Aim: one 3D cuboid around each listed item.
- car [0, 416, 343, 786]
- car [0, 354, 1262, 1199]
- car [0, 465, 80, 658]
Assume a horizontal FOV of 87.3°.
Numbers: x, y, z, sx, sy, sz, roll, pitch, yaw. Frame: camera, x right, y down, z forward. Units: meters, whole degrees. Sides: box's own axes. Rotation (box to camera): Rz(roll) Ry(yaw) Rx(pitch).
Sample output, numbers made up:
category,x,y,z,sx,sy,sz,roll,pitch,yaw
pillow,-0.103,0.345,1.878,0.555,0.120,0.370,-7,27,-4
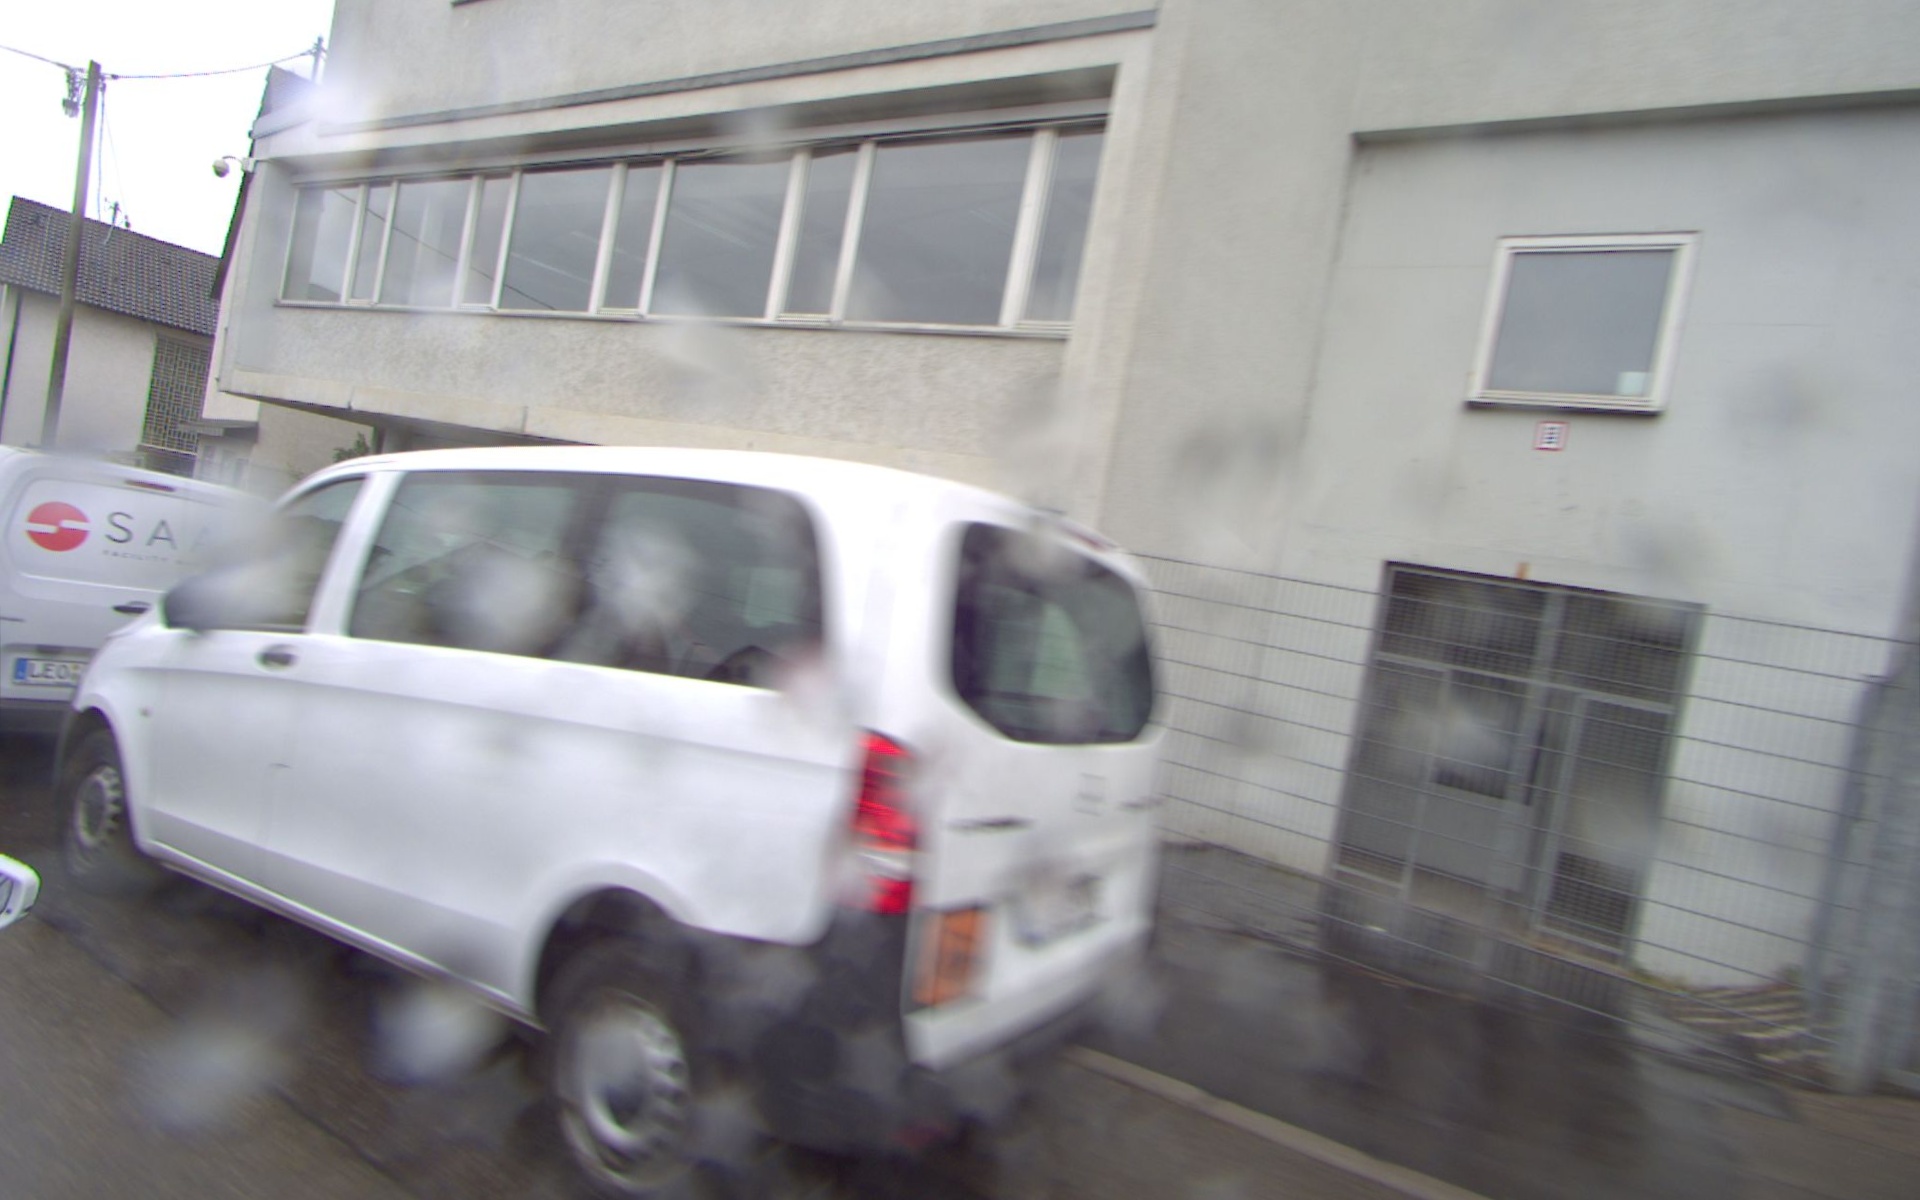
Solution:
category,x,y,z,sx,sy,sz,roll,pitch,yaw
car,-6.360,-0.169,6.743,4.414,1.856,1.881,8,0,32
car,-1.636,0.345,3.986,4.893,1.958,1.996,8,0,32
car,-10.684,-0.653,9.618,4.876,1.664,1.997,8,-1,32
